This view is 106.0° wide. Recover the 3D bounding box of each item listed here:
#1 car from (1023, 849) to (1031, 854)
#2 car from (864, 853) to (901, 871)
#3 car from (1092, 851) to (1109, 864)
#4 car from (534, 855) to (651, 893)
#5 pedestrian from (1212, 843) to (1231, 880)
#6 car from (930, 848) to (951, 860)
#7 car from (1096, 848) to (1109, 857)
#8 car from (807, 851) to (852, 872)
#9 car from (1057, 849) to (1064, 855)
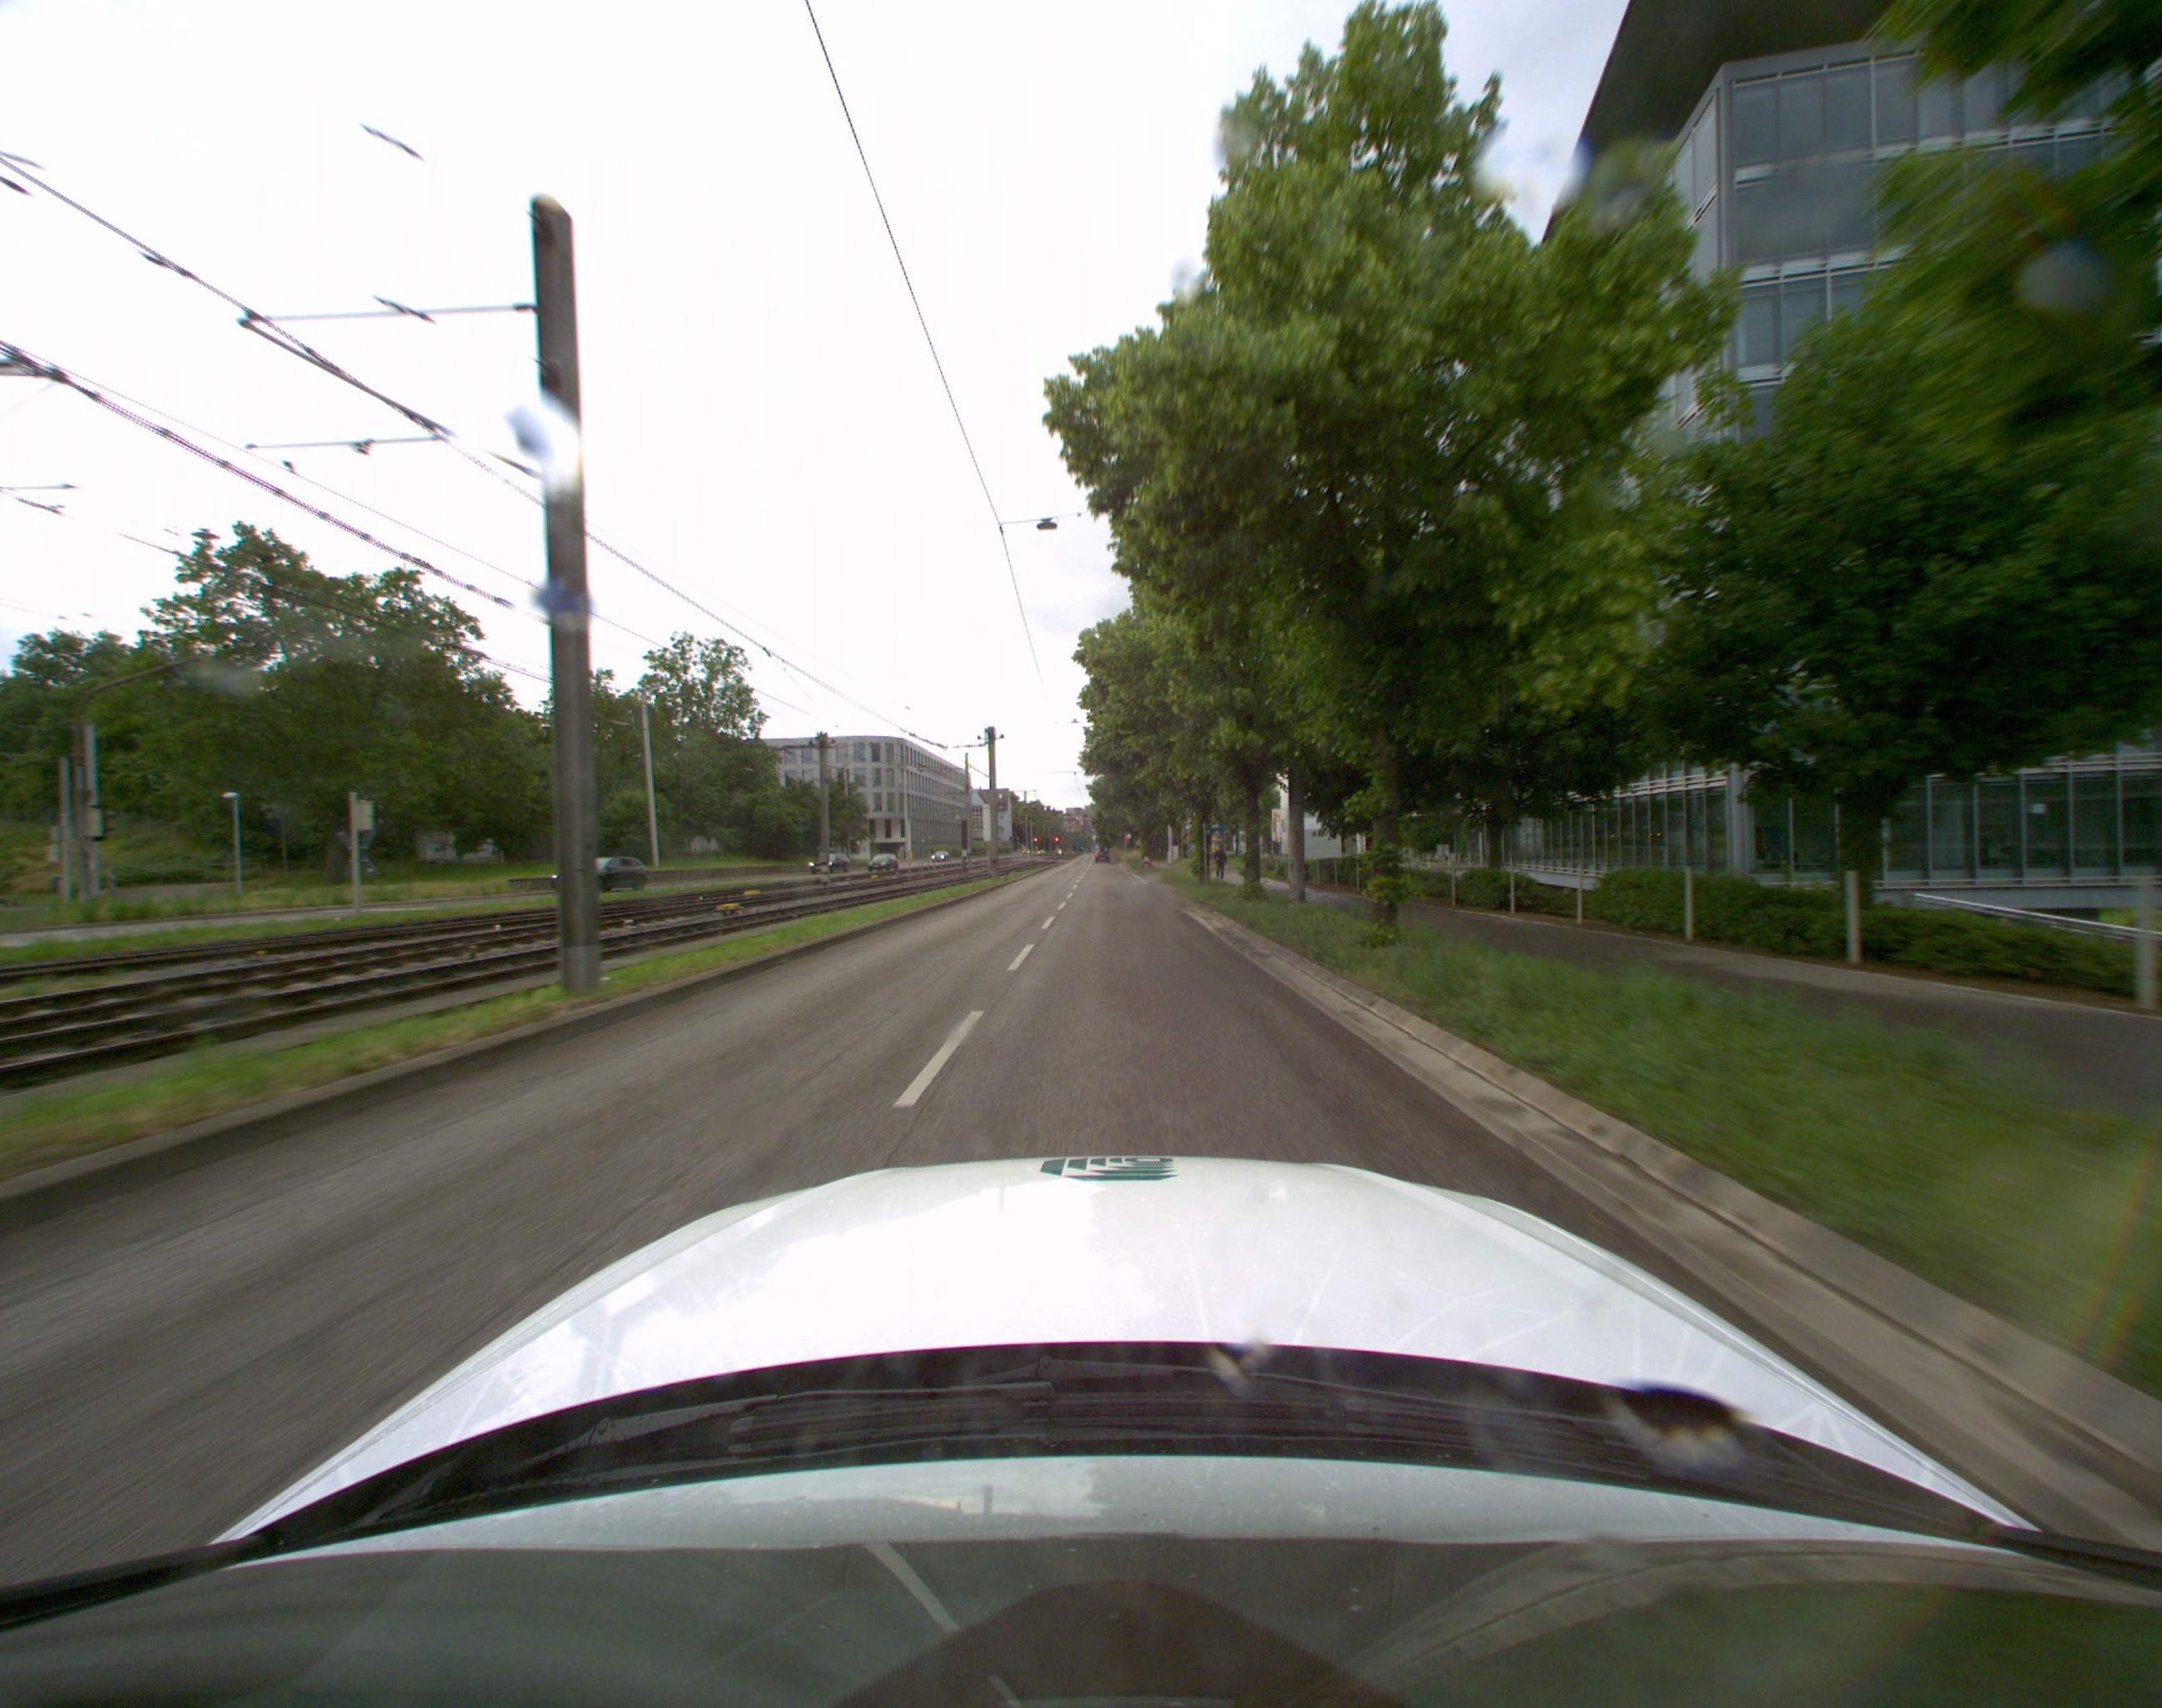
[{"bbox_3d":[-13.061,-0.637,197.199,1.750,1.244,3.989,-1,0,2],"label":"car"},{"bbox_3d":[-17.213,0.658,70.842,1.882,1.486,4.313,-1,0,4],"label":"car"},{"bbox_3d":[2.342,0.440,97.464,1.975,1.440,4.476,-1,0,2],"label":"car"},{"bbox_3d":[-22.961,0.876,38.595,2.080,1.589,5.165,-1,0,4],"label":"car"},{"bbox_3d":[6.891,0.359,40.027,0.822,1.797,0.868,0,0,2],"label":"pedestrian"},{"bbox_3d":[-18.231,-0.022,105.905,1.753,1.397,3.905,-1,0,4],"label":"car"},{"bbox_3d":[3.547,-0.289,134.296,1.975,1.440,4.476,-1,0,2],"label":"car"},{"bbox_3d":[-20.367,0.559,66.121,1.940,1.595,4.850,-1,0,2],"label":"car"},{"bbox_3d":[-6.317,-0.621,252.646,1.894,1.644,4.888,-1,0,3],"label":"car"}]
